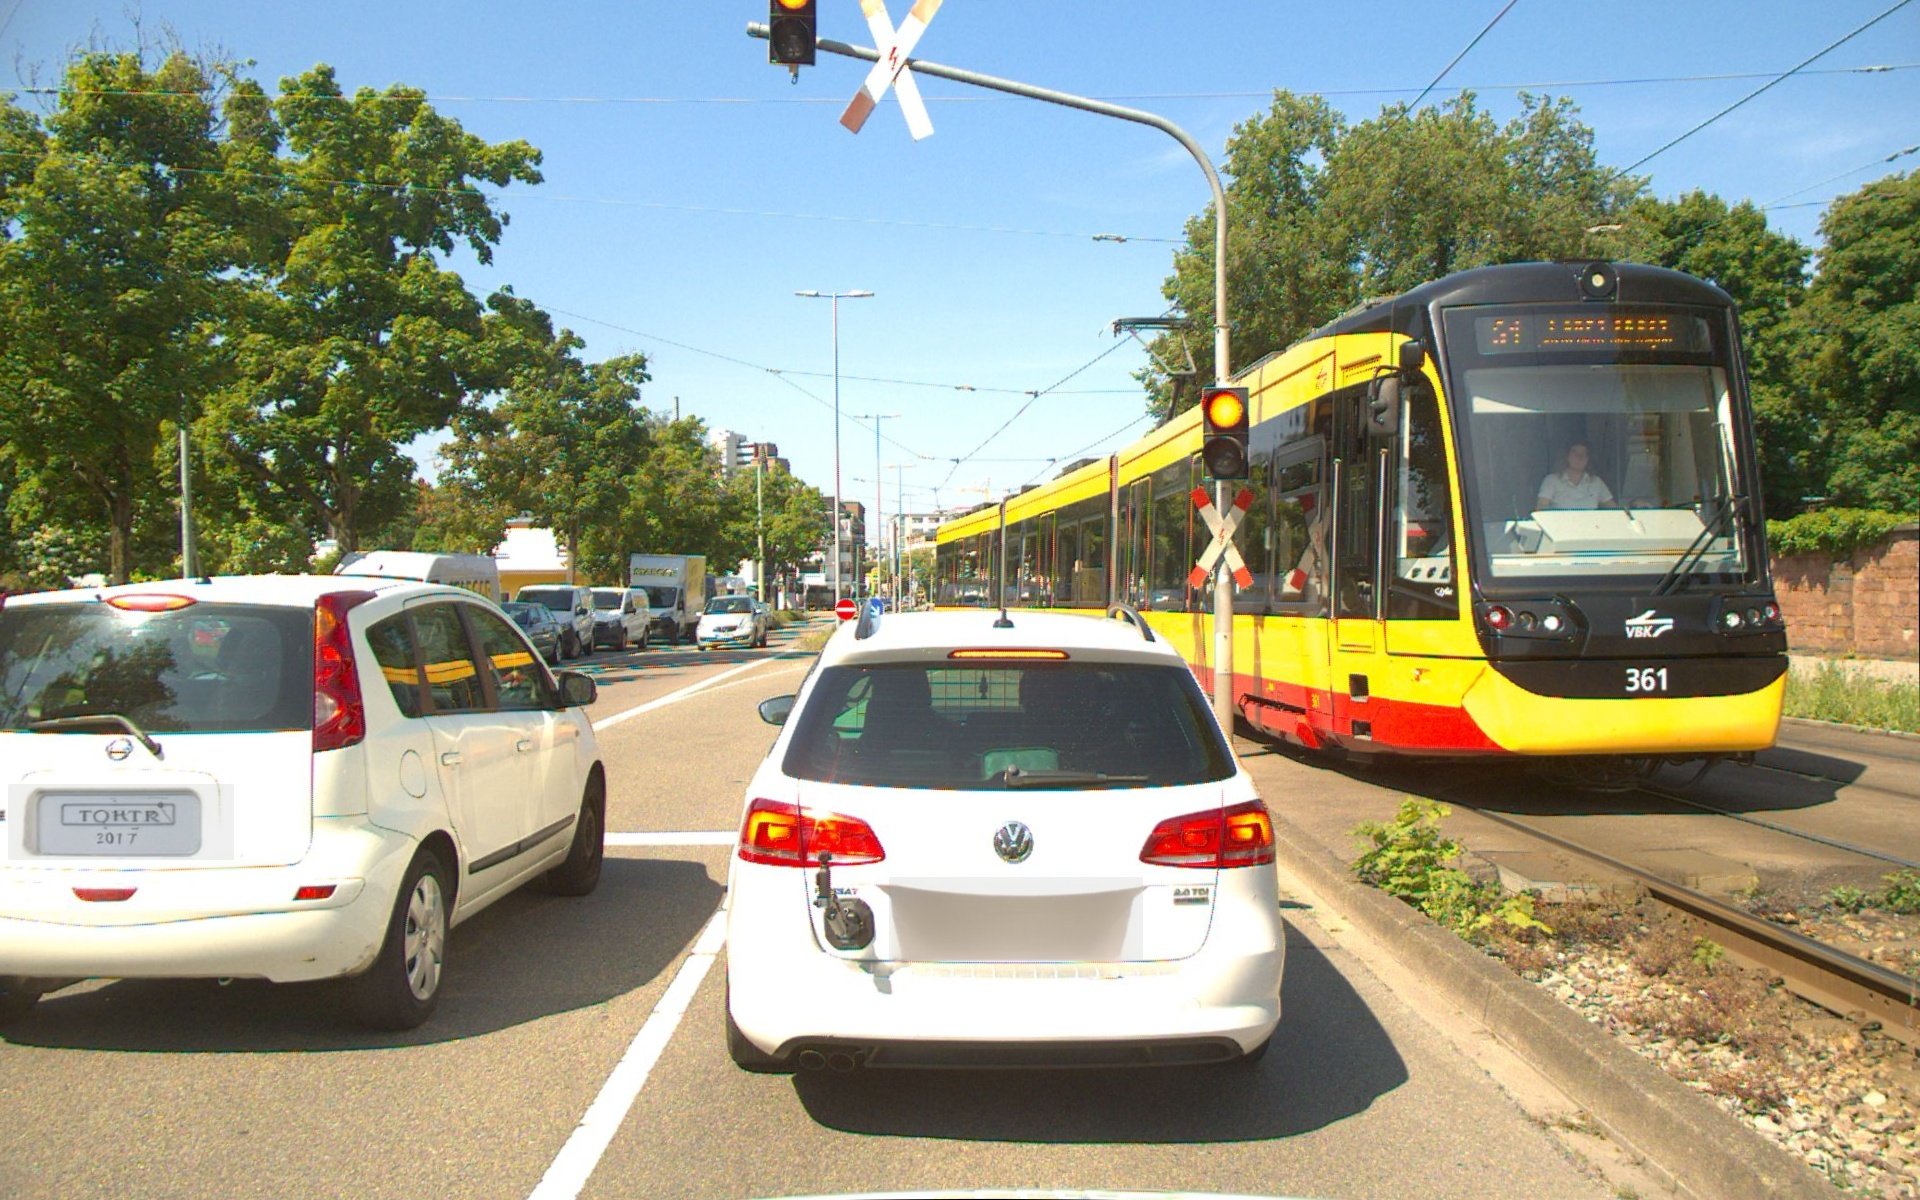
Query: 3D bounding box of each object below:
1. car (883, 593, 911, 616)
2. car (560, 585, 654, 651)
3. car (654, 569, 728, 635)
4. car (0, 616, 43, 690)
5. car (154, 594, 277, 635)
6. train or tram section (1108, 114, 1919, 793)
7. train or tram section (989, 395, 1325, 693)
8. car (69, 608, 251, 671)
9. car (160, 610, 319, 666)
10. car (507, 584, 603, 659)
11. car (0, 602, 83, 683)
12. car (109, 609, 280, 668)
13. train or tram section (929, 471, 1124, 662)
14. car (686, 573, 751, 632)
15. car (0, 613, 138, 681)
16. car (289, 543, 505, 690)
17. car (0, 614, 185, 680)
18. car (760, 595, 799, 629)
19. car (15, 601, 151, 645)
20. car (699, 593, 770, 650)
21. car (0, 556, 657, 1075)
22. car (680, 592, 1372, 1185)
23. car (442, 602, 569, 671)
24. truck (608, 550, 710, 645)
[{"bbox_3d":[-4.273,0.298,112.509,1.670,1.499,4.589,-1,0,0],"label":"car"},{"bbox_3d":[-10.964,0.527,51.736,1.826,1.900,5.412,1,0,-1],"label":"car"},{"bbox_3d":[-11.006,0.063,68.158,2.079,2.560,5.733,1,0,0],"label":"car"},{"bbox_3d":[-20.733,1.122,32.937,3.909,1.440,1.728,-2,0,-5],"label":"car"},{"bbox_3d":[-34.364,0.665,76.419,4.698,1.819,2.062,1,0,-5],"label":"car"},{"bbox_3d":[3.817,-0.904,15.846,2.814,3.923,12.382,-1,0,-4],"label":"train or tram section"},{"bbox_3d":[2.751,-0.781,28.212,2.816,3.923,12.373,-1,0,-7],"label":"train or tram section"},{"bbox_3d":[-21.106,1.024,43.759,3.909,1.440,1.728,-2,0,-5],"label":"car"},{"bbox_3d":[-21.275,1.101,48.942,3.909,1.440,1.728,-2,0,-5],"label":"car"},{"bbox_3d":[-10.976,0.531,45.152,1.827,1.900,5.068,1,0,-6],"label":"car"},{"bbox_3d":[-21.077,0.962,35.131,3.909,1.638,1.728,-2,0,-5],"label":"car"},{"bbox_3d":[-21.287,1.057,46.124,3.909,1.440,1.728,-2,0,-5],"label":"car"},{"bbox_3d":[1.296,-0.721,39.615,2.817,3.923,10.519,-1,0,-8],"label":"train or tram section"},{"bbox_3d":[-10.982,0.096,75.595,2.079,2.560,5.733,1,0,0],"label":"car"},{"bbox_3d":[-21.616,1.115,38.647,3.909,1.440,1.728,-2,0,-5],"label":"car"},{"bbox_3d":[-10.746,0.276,32.140,2.079,2.560,5.817,1,0,1],"label":"car"},{"bbox_3d":[-21.732,1.167,41.255,3.909,1.440,1.728,-2,0,-5],"label":"car"},{"bbox_3d":[-10.701,0.708,98.437,1.826,1.900,5.412,1,0,-1],"label":"car"},{"bbox_3d":[-37.808,0.981,71.391,4.698,1.819,2.062,1,0,-5],"label":"car"},{"bbox_3d":[-6.682,0.607,49.333,1.642,1.580,3.579,-3,0,-1],"label":"car"},{"bbox_3d":[-2.575,0.643,7.298,1.628,1.575,4.546,0,0,0],"label":"car"},{"bbox_3d":[0.143,0.719,6.198,1.726,1.455,3.999,-1,0,-1],"label":"car"},{"bbox_3d":[-10.504,0.803,38.510,1.826,1.440,4.278,1,0,-1],"label":"car"},{"bbox_3d":[-10.845,-0.111,60.162,2.371,3.205,6.996,1,0,0],"label":"truck"}]
